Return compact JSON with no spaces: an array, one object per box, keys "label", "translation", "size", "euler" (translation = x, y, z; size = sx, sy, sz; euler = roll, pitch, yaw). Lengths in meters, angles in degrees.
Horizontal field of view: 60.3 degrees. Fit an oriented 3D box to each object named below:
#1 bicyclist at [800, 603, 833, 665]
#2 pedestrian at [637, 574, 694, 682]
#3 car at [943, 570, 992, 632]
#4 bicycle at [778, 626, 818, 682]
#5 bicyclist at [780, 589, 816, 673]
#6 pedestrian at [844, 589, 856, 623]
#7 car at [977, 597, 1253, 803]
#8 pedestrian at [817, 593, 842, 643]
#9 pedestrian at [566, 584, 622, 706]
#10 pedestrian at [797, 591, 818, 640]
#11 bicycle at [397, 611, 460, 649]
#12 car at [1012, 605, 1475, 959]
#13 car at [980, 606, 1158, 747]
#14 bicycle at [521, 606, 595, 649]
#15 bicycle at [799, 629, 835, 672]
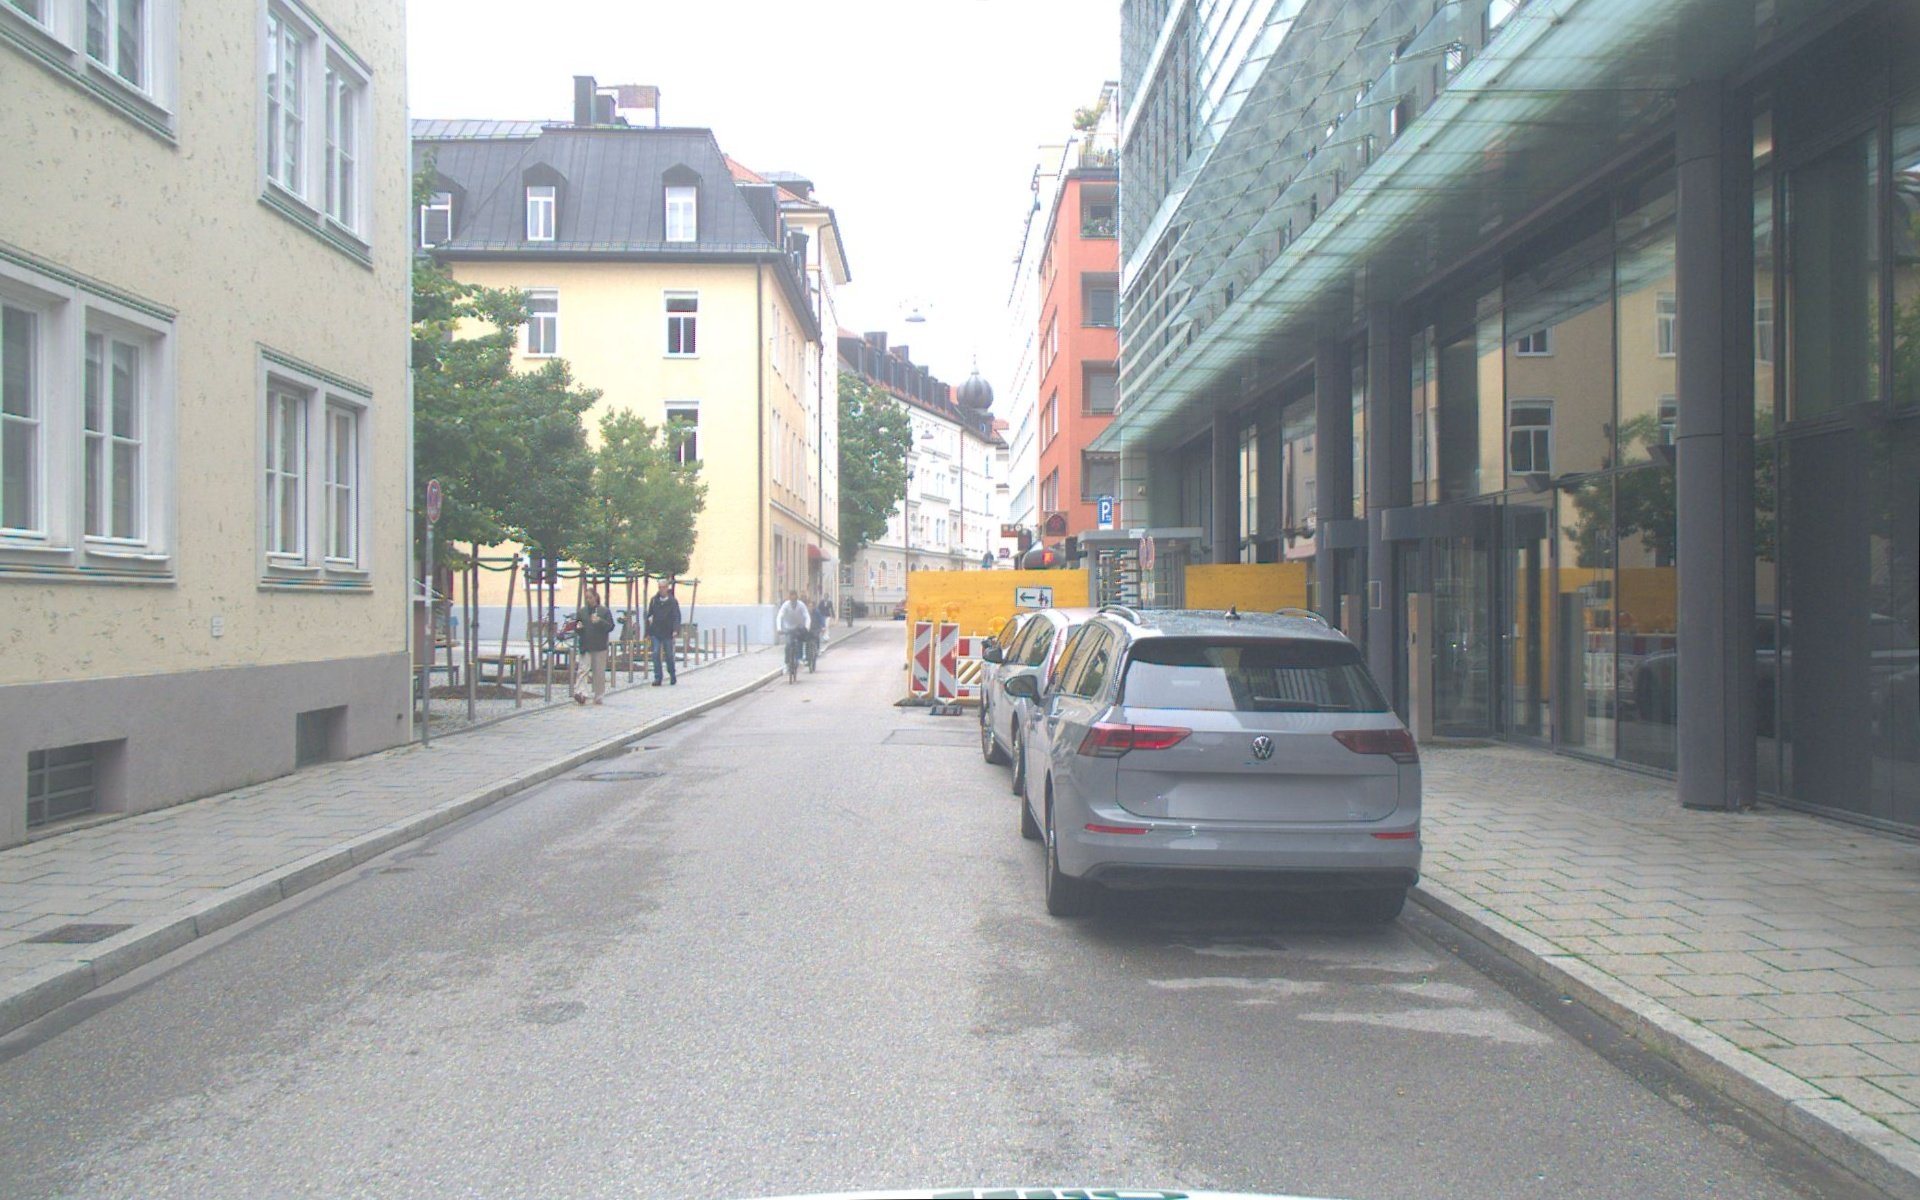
[{"label":"bicyclist","translation":[-3.288,0.777,37.973],"size":[0.693,1.395,0.813],"euler":[-1,0,-2]},{"label":"pedestrian","translation":[-5.290,0.496,29.751],"size":[0.850,1.914,1.134],"euler":[0,-1,-2]},{"label":"car","translation":[0.280,0.052,71.624],"size":[1.953,2.581,4.973],"euler":[0,0,-2]},{"label":"bicycle","translation":[-3.292,1.081,33.676],"size":[0.648,1.057,2.004],"euler":[-1,0,-1]},{"label":"bicyclist","translation":[-3.284,0.616,33.610],"size":[0.646,1.671,0.895],"euler":[-1,0,-2]},{"label":"pedestrian","translation":[-5.604,0.296,84.306],"size":[0.622,1.704,0.517],"euler":[0,0,-2]},{"label":"car","translation":[1.173,0.755,14.352],"size":[1.674,1.493,4.233],"euler":[1,0,-4]},{"label":"pedestrian","translation":[-4.536,0.633,57.439],"size":[0.822,1.730,0.802],"euler":[0,-1,-2]},{"label":"pedestrian","translation":[-5.197,0.632,23.529],"size":[0.634,1.706,0.723],"euler":[0,-1,-2]},{"label":"pedestrian","translation":[-5.306,0.540,57.608],"size":[0.657,1.677,0.761],"euler":[0,-1,-2]},{"label":"bicycle","translation":[-15.377,0.865,47.850],"size":[1.621,1.088,0.598],"euler":[1,0,3]},{"label":"car","translation":[1.255,0.762,9.060],"size":[1.673,1.457,4.328],"euler":[0,0,-2]},{"label":"car","translation":[1.169,0.819,19.512],"size":[1.673,1.439,4.508],"euler":[1,0,-1]},{"label":"bicycle","translation":[-11.712,0.788,48.216],"size":[2.000,1.218,0.570],"euler":[0,0,6]},{"label":"bicycle","translation":[-3.282,1.146,38.024],"size":[0.693,0.921,1.809],"euler":[-1,0,-1]}]
